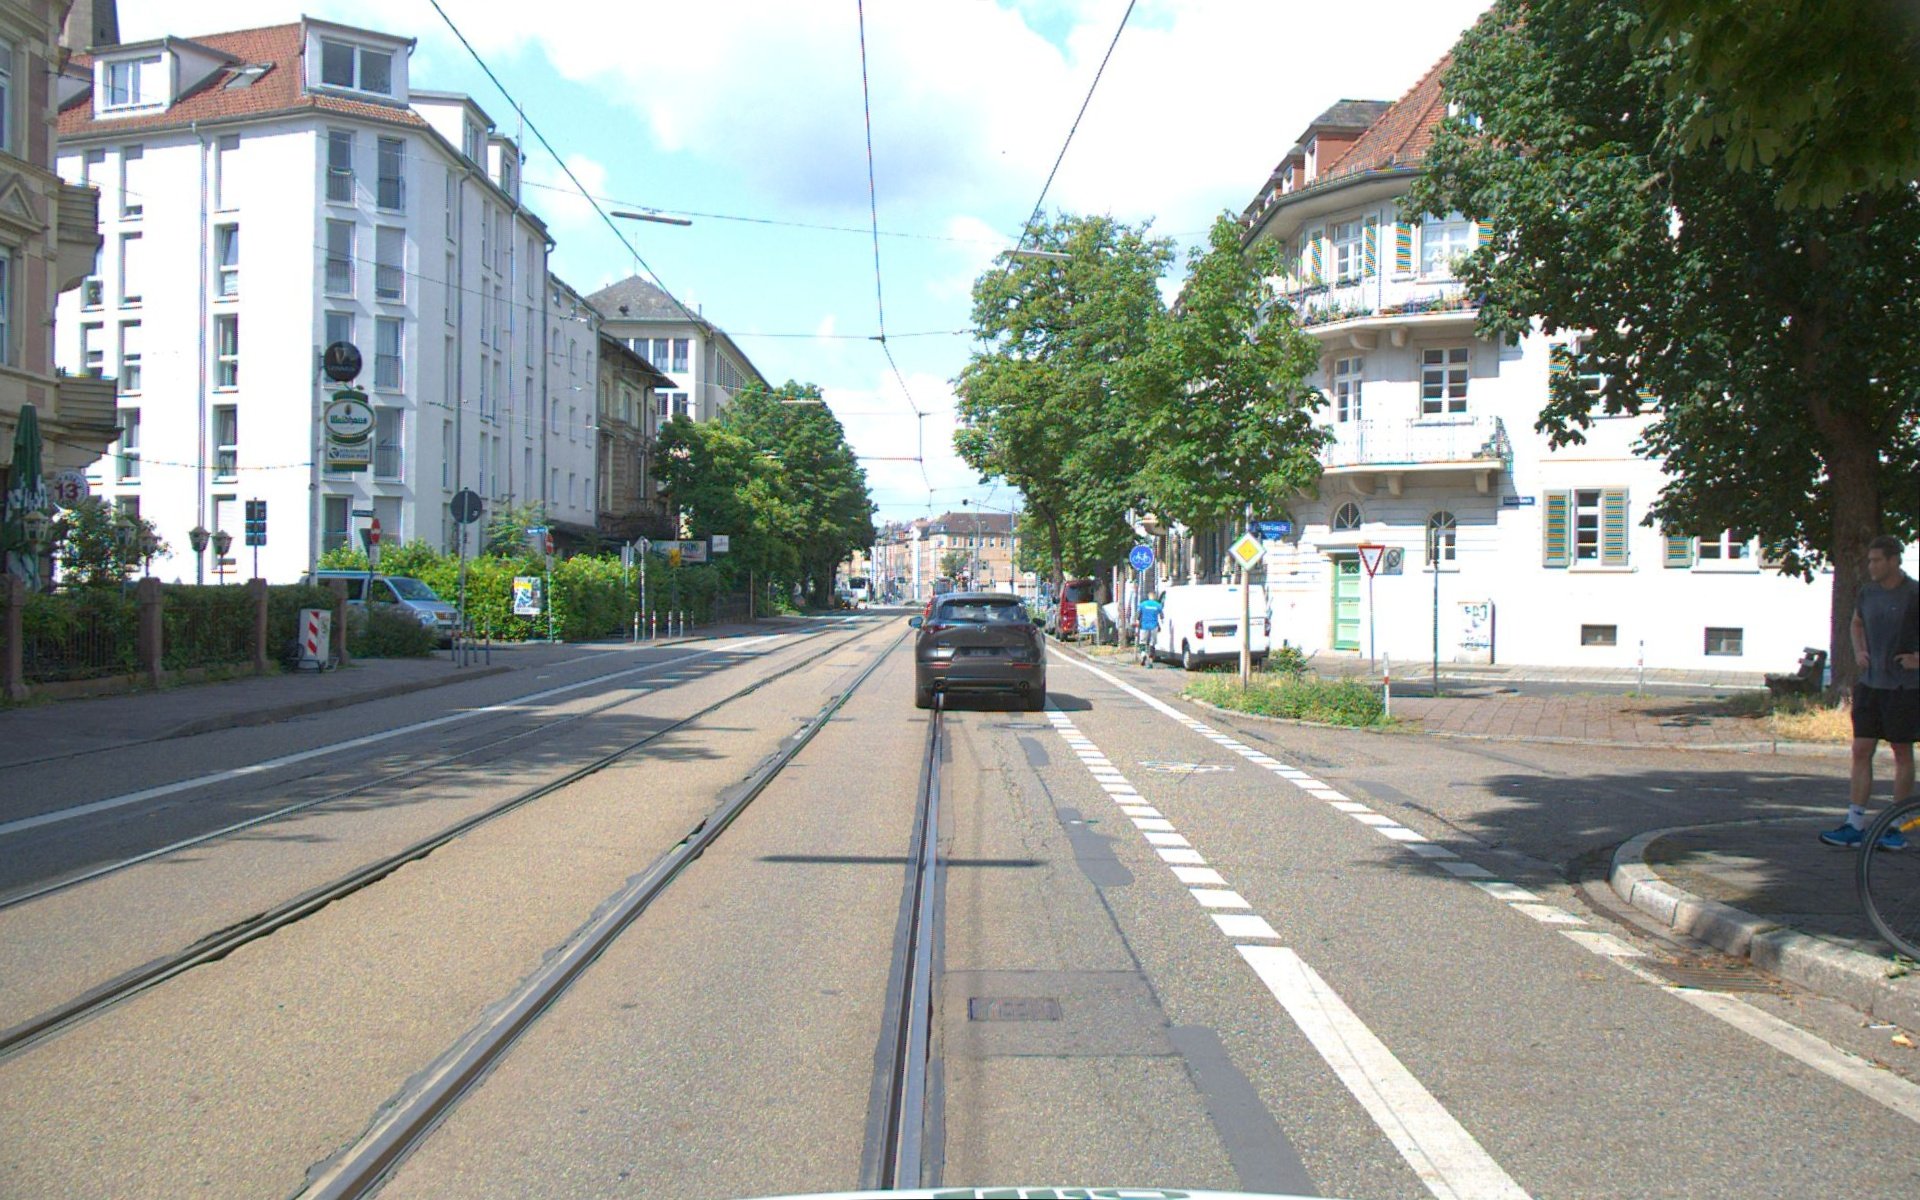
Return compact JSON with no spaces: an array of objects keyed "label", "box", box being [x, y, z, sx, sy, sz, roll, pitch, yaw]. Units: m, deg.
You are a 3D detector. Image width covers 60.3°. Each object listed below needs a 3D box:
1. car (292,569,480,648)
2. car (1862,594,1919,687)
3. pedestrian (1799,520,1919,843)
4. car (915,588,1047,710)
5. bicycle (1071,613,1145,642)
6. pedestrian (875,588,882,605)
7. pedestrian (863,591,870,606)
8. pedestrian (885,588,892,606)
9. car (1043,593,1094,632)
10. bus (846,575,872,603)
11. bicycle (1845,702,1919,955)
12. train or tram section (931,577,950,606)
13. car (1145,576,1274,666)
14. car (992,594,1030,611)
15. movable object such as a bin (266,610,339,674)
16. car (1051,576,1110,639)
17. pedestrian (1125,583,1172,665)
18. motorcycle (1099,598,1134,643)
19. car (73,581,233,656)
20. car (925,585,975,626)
[{"label":"car","box":[-15.529,0.198,44.786,4.566,2.049,2.046,1,0,21]},{"label":"car","box":[16.343,0.658,25.833,3.910,1.436,1.650,1,-1,28]},{"label":"pedestrian","box":[5.626,0.479,10.019,0.598,1.868,0.878,0,-2,-3]},{"label":"car","box":[0.244,0.625,23.096,1.686,1.553,3.589,1,0,-1]},{"label":"bicycle","box":[4.636,0.862,51.888,2.229,0.876,0.671,1,0,-2]},{"label":"pedestrian","box":[-9.545,-0.407,193.675,0.867,2.049,0.617,0,0,-5]},{"label":"pedestrian","box":[-9.576,-0.166,169.473,0.736,1.537,0.823,0,0,-5]},{"label":"pedestrian","box":[-8.385,-0.333,193.695,0.867,2.049,0.617,0,0,-5]},{"label":"car","box":[4.169,0.468,63.929,1.686,1.449,3.589,1,0,-1]},{"label":"bus","box":[-13.195,-1.434,215.227,2.637,3.480,11.002,3,0,-6]},{"label":"bicycle","box":[4.429,0.925,6.767,1.460,1.000,0.259,0,0,1]},{"label":"train or tram section","box":[-2.648,-1.177,230.072,2.519,3.838,13.025,0,0,0]},{"label":"car","box":[5.785,0.450,38.933,1.753,1.972,4.984,0,0,-7]},{"label":"car","box":[5.575,0.258,180.732,3.748,1.646,1.629,3,0,-19]},{"label":"movable object such as a bin","box":[-10.853,0.684,27.320,0.730,1.005,1.114,3,0,-1]},{"label":"car","box":[4.024,0.232,55.754,1.685,2.003,4.207,1,0,0]},{"label":"pedestrian","box":[4.367,0.548,38.313,0.799,1.868,0.961,1,1,26]},{"label":"motorcycle","box":[4.630,0.589,49.007,0.778,1.293,2.422,1,0,-1]},{"label":"car","box":[-17.877,0.389,36.777,1.360,1.594,3.186,1,0,18]},{"label":"car","box":[-0.422,0.220,68.496,1.953,1.555,3.999,3,0,-1]}]
